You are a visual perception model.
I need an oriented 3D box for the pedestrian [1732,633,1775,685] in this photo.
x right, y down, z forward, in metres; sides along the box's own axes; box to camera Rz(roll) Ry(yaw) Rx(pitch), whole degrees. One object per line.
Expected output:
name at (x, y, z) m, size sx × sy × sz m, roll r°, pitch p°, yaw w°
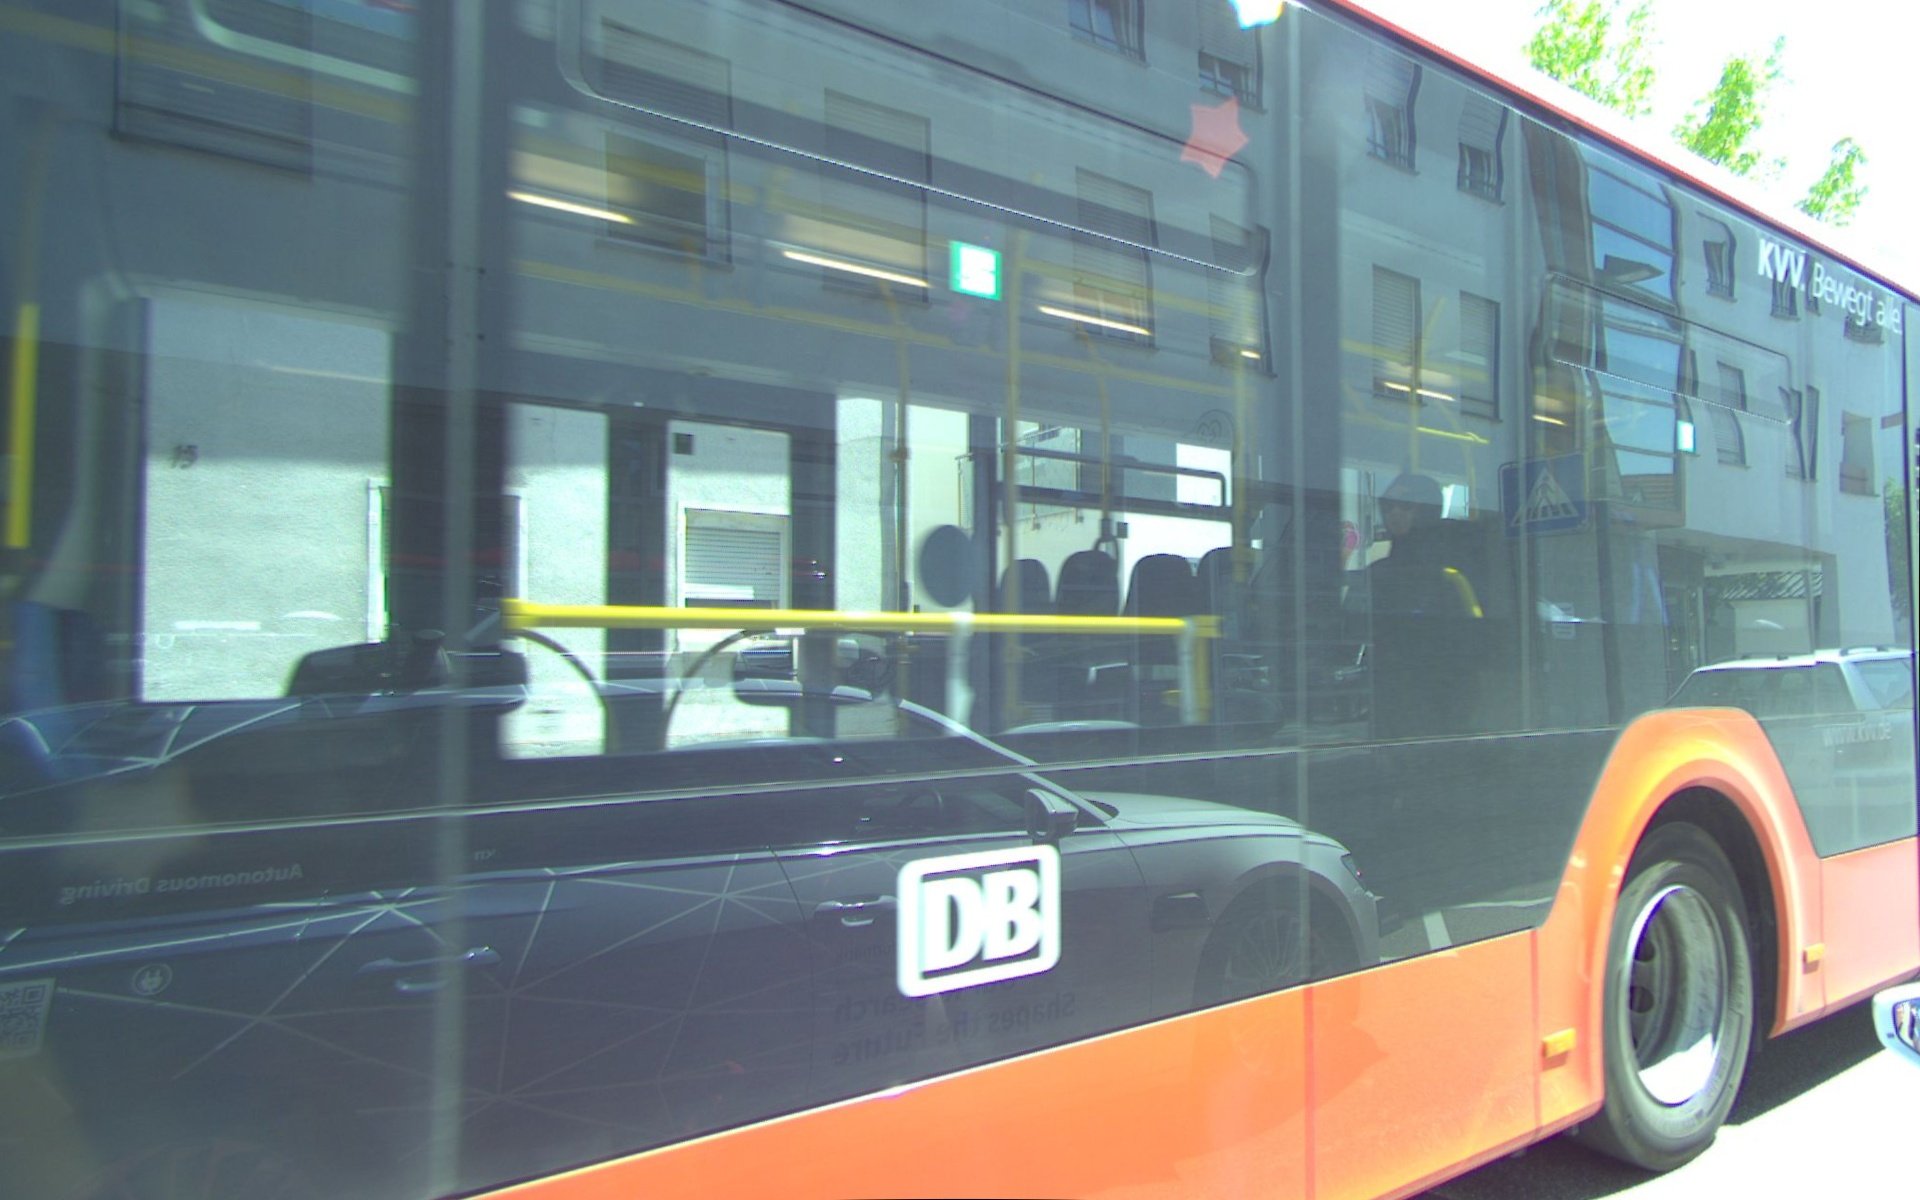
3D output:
pedestrian at (21.049, 1.561, 26.664) m, size 0.623 × 1.306 × 0.789 m, roll 2°, pitch 0°, yaw 17°

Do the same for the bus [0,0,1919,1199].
bus at (-3.121, -0.144, 1.158) m, size 17.601 × 3.165 × 2.656 m, roll 1°, pitch -2°, yaw -31°

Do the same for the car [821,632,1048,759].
car at (-0.425, 1.155, 13.257) m, size 1.571 × 1.462 × 3.094 m, roll 1°, pitch -2°, yaw -35°

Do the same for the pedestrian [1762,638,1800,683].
pedestrian at (22.017, 1.609, 26.947) m, size 0.689 × 1.194 × 0.618 m, roll 1°, pitch -2°, yaw -34°

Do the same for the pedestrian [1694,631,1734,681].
pedestrian at (20.717, 1.529, 27.615) m, size 0.623 × 1.306 × 0.789 m, roll 2°, pitch 0°, yaw 17°
